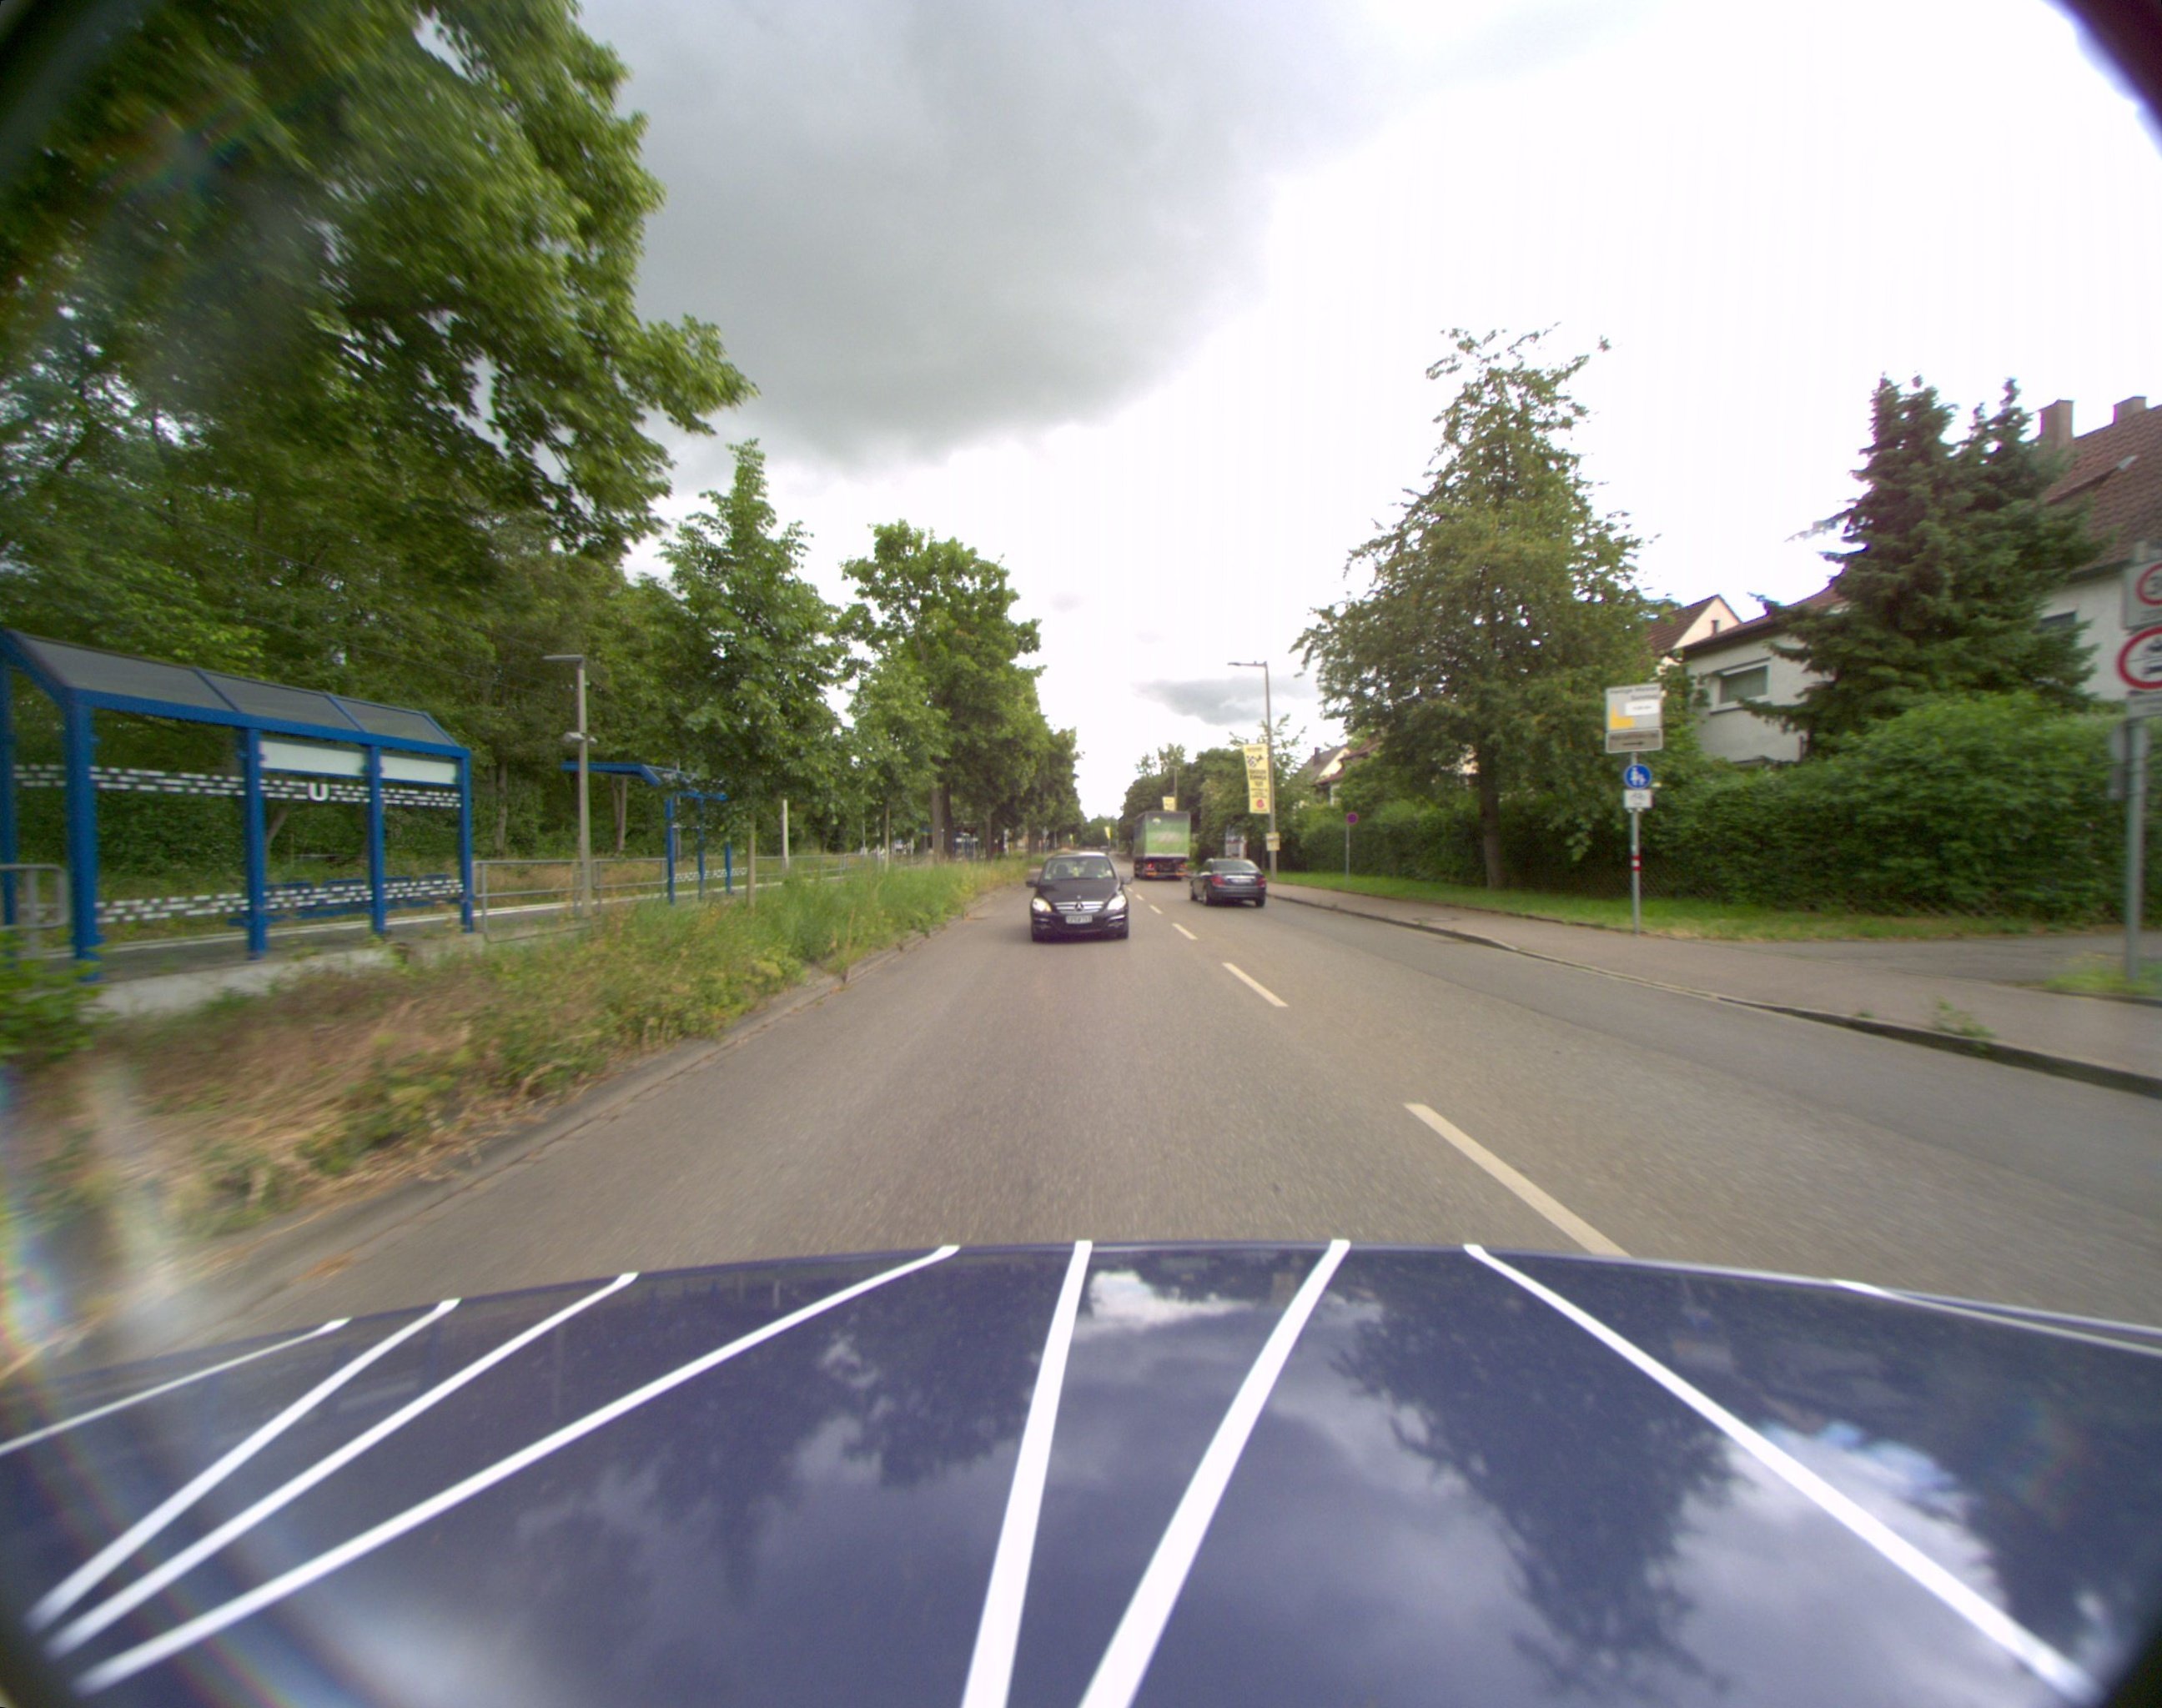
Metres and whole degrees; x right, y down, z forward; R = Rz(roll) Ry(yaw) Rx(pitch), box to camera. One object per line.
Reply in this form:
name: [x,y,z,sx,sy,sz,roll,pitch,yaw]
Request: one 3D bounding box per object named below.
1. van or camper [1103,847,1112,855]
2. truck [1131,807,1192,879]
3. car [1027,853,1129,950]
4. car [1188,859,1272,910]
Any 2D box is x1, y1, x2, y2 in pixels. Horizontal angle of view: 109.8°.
van or camper: [6.368,-0.711,183.581,1.918,1.888,4.811,-1,0,0]
truck: [4.920,-0.688,48.486,2.556,4.020,10.617,1,1,0]
car: [-0.061,0.812,15.202,1.683,1.565,4.482,-2,1,0]
car: [4.495,0.868,23.553,1.737,1.367,4.239,1,0,0]
